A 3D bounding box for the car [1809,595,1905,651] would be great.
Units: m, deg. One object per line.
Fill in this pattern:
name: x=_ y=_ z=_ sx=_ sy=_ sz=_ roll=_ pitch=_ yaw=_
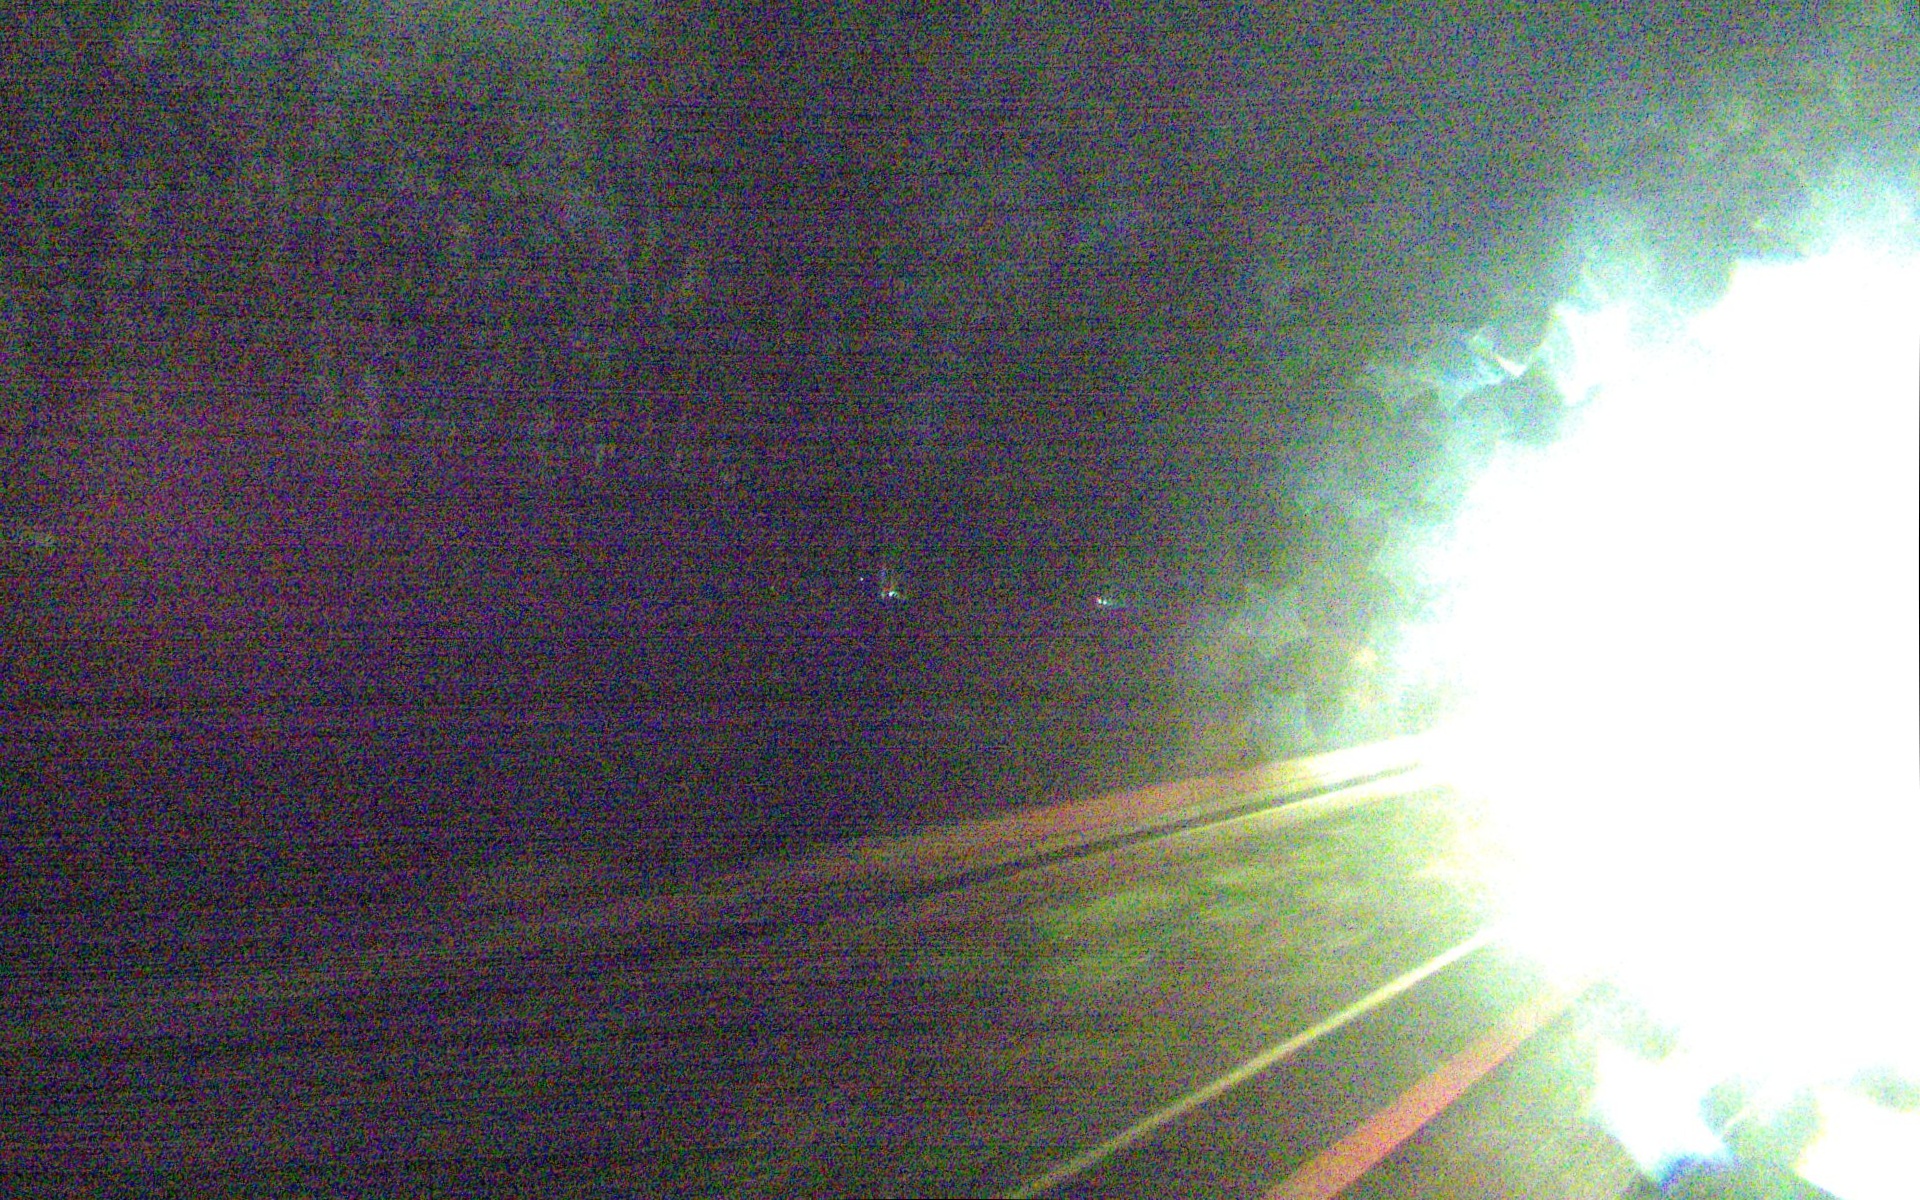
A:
car: x=26.255 y=0.642 z=29.730 sx=1.841 sy=1.467 sz=3.822 roll=-1 pitch=0 yaw=38
